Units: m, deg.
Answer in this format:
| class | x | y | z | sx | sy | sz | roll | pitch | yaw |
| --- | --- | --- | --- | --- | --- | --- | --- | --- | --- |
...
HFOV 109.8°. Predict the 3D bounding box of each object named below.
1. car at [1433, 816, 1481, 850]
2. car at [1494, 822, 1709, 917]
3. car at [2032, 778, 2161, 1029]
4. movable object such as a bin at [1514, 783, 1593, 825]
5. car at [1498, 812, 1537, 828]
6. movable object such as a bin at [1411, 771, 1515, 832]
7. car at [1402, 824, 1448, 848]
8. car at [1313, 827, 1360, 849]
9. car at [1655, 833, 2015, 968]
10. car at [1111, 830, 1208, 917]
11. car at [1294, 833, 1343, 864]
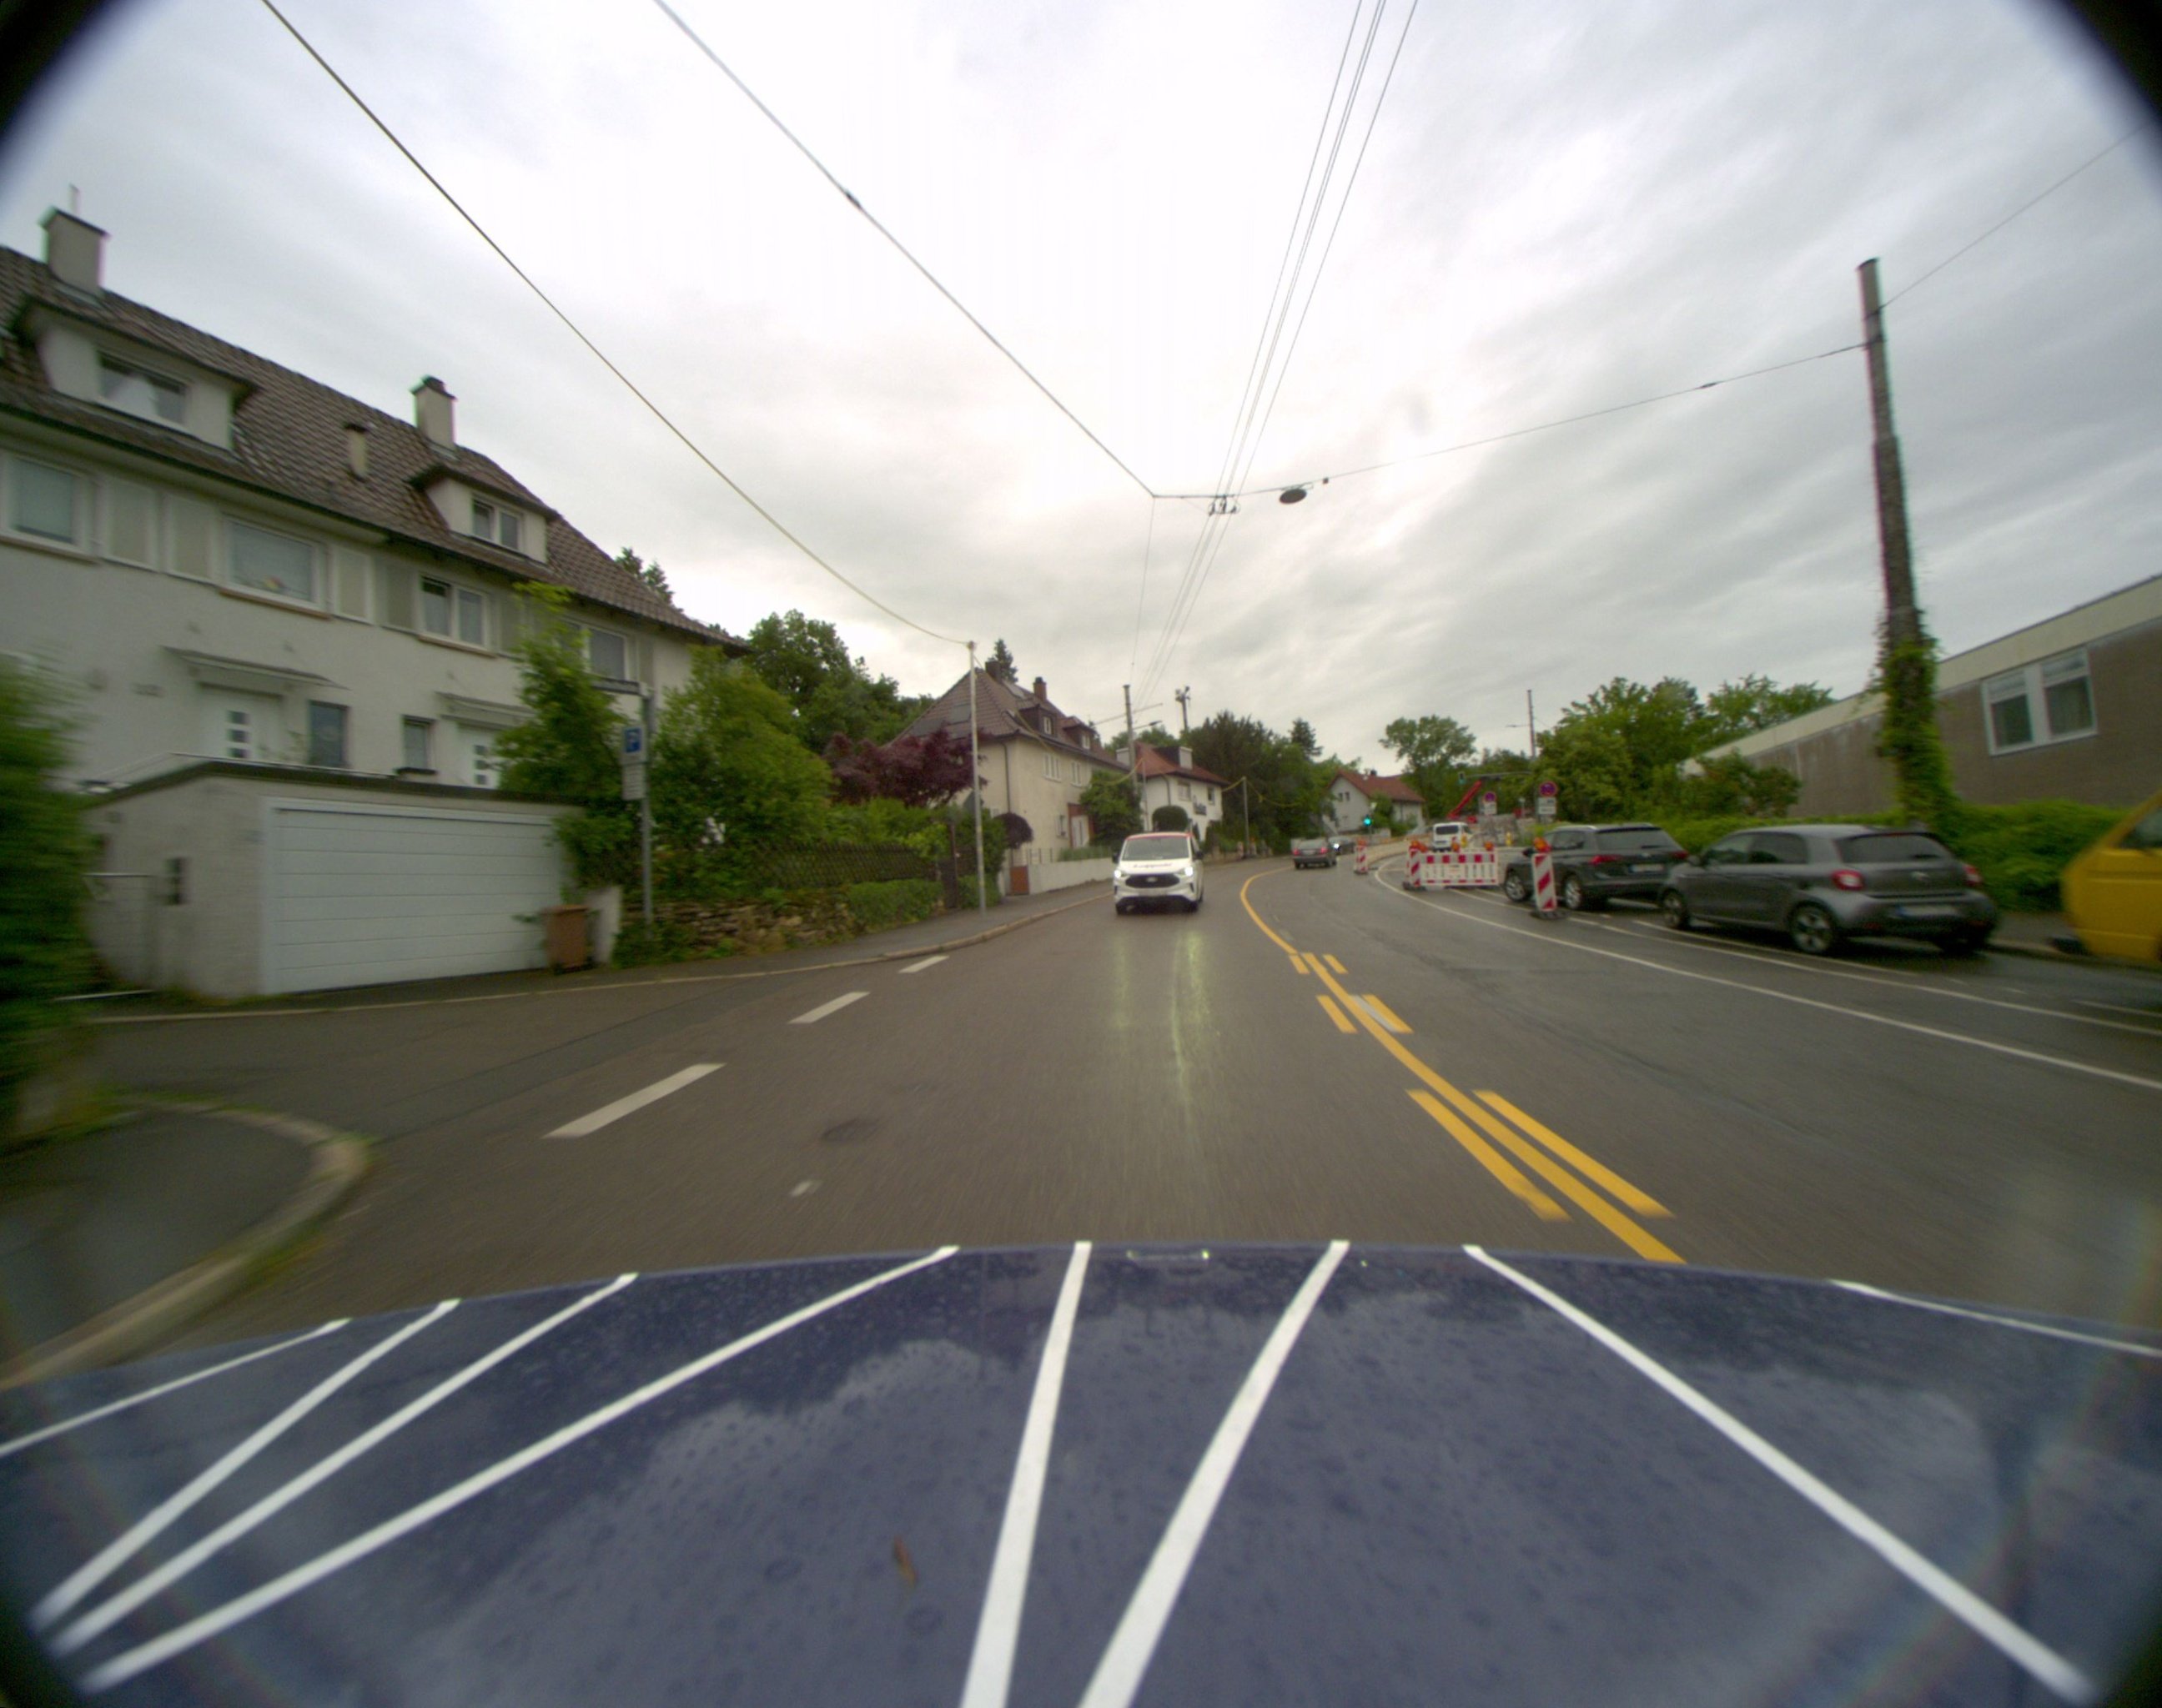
| class | x | y | z | sx | sy | sz | roll | pitch | yaw |
| --- | --- | --- | --- | --- | --- | --- | --- | --- | --- |
| car | 22.008 | -1.227 | 44.388 | 1.806 | 1.790 | 4.471 | -3 | 1 | 35 |
| car | 10.386 | 0.252 | 15.628 | 1.723 | 1.598 | 4.465 | -3 | 0 | 7 |
| car | 8.999 | 0.370 | 4.270 | 1.807 | 1.917 | 4.578 | -1 | 1 | 5 |
| movable object such as a bin | 63.696 | -6.665 | 102.554 | 3.329 | 5.025 | 8.307 | -4 | 2 | -31 |
| car | 45.765 | -3.568 | 79.606 | 4.522 | 1.451 | 1.985 | -5 | 2 | -38 |
| movable object such as a bin | 46.119 | -6.290 | 91.781 | 7.049 | 6.515 | 9.032 | -5 | 2 | -41 |
| car | 31.850 | -1.678 | 70.324 | 4.006 | 1.928 | 2.011 | -4 | 2 | -35 |
| car | 19.378 | -1.241 | 57.446 | 1.985 | 1.428 | 4.522 | -3 | 2 | 37 |
| car | 9.574 | 0.484 | 10.072 | 1.577 | 1.446 | 3.465 | -2 | 1 | 7 |
| car | 2.152 | 0.399 | 19.577 | 2.040 | 1.928 | 4.518 | -2 | 1 | 11 |
| car | 12.808 | -0.298 | 40.775 | 1.791 | 1.481 | 4.679 | -3 | 0 | 26 |
